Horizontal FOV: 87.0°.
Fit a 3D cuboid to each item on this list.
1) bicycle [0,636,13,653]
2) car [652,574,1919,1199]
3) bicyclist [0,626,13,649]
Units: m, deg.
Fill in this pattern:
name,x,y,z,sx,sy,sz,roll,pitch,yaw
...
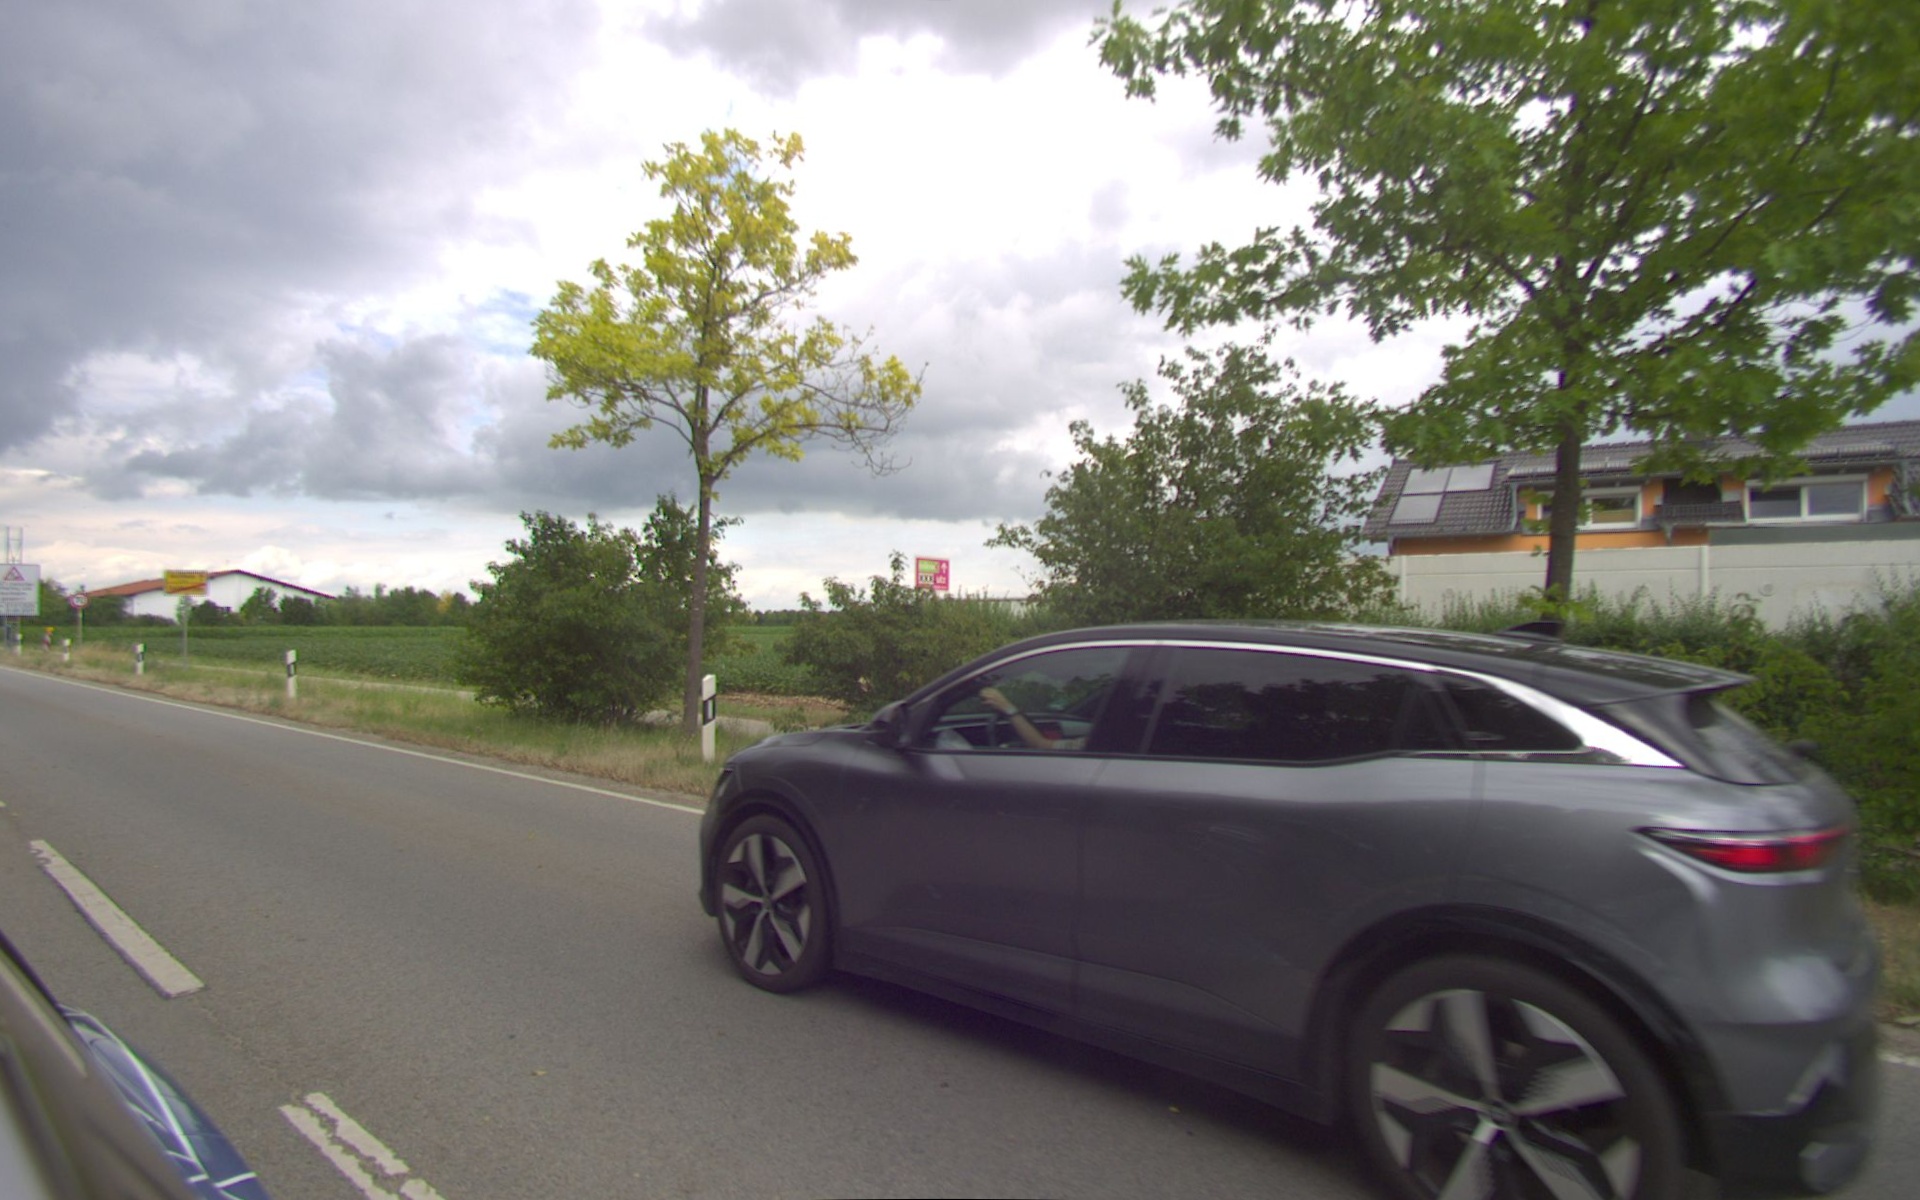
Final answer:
name,x,y,z,sx,sy,sz,roll,pitch,yaw
bicycle,-66.853,3.116,70.885,1.793,1.164,0.523,-2,-4,40
car,0.827,0.782,3.779,4.201,1.505,1.797,-2,-3,41
bicyclist,-66.842,2.623,70.908,1.222,1.596,0.524,-2,-4,40
